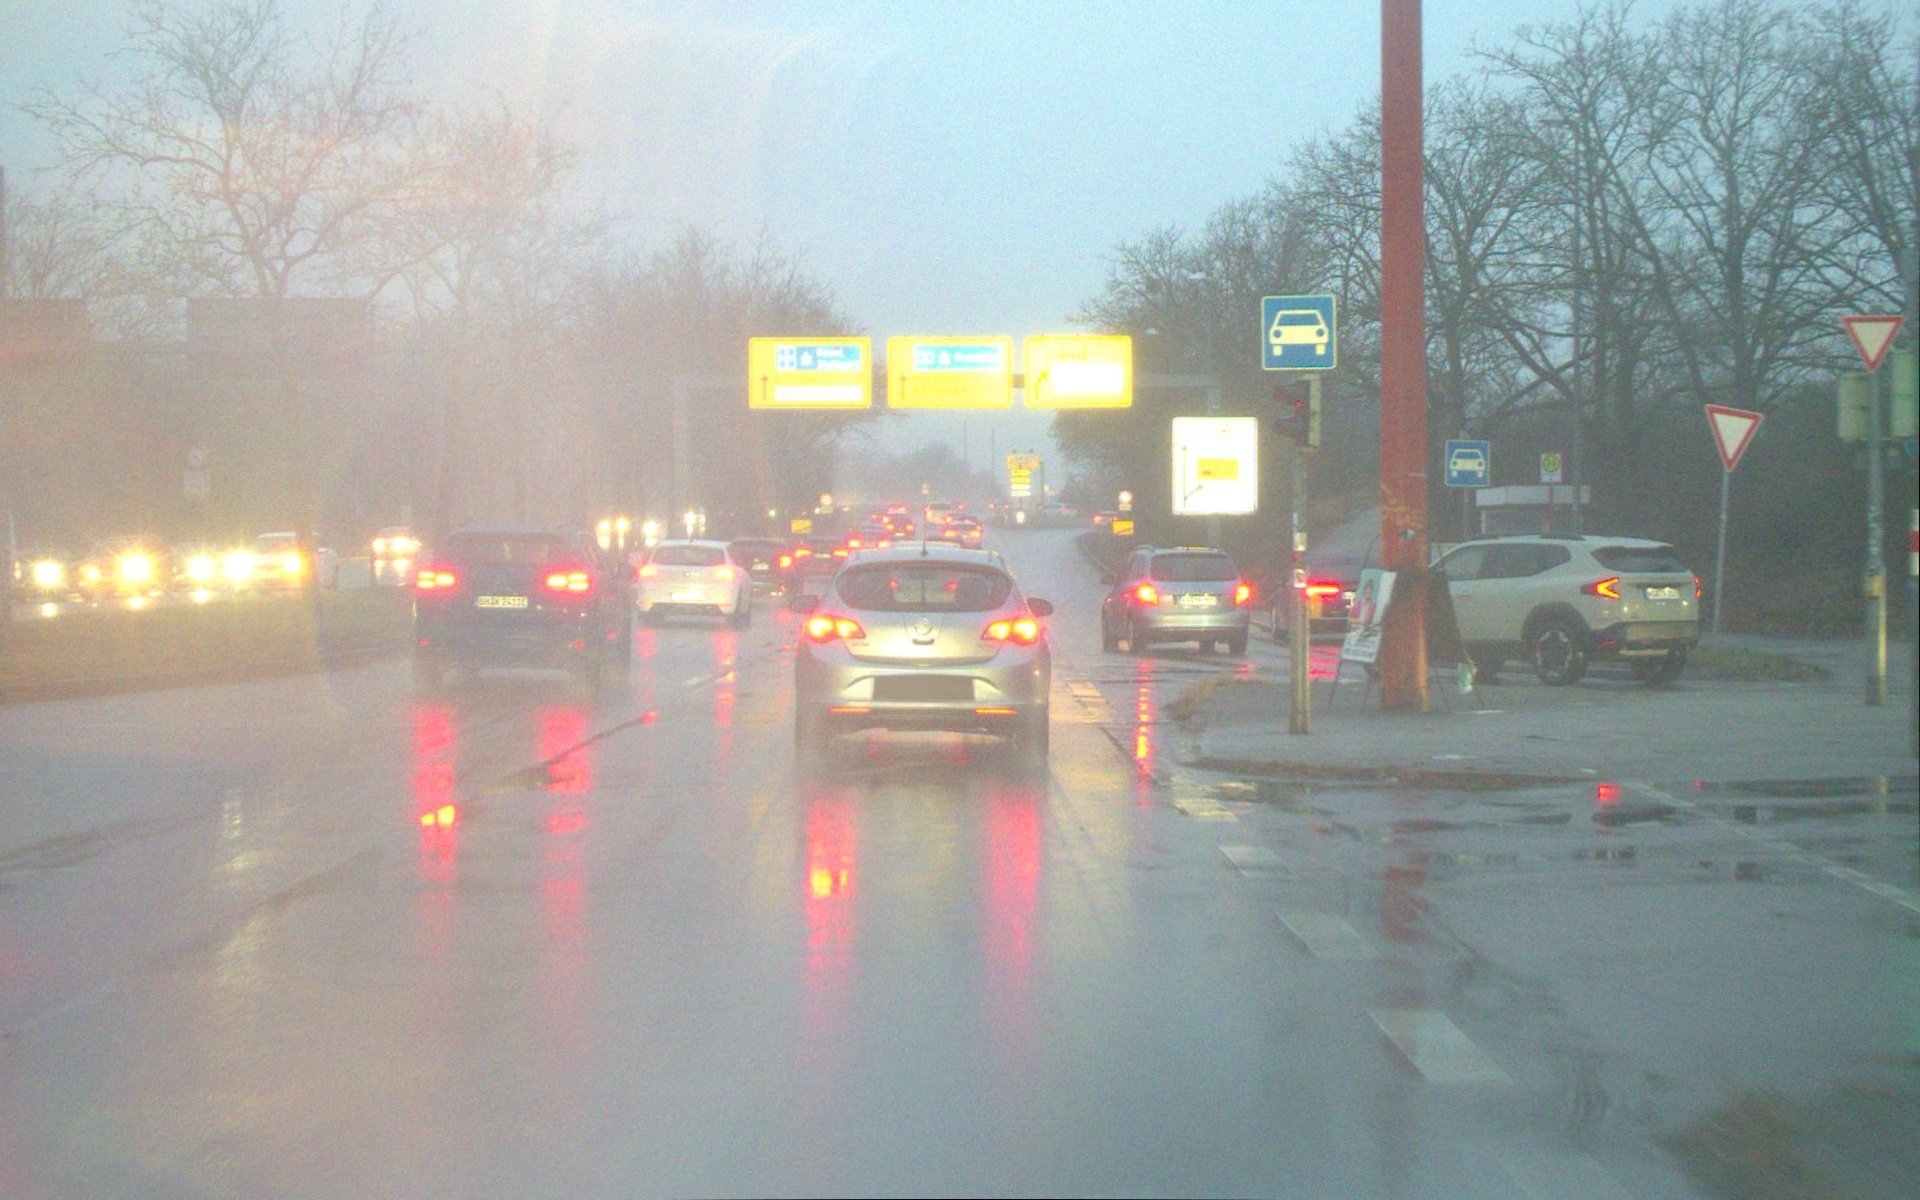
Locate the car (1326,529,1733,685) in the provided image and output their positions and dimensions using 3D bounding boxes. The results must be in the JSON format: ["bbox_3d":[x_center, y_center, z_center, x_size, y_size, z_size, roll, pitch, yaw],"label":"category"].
[{"bbox_3d":[6.208,0.036,37.924,1.816,1.612,4.410,-1,1,-36],"label":"car"}]

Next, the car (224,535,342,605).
[{"bbox_3d":[-15.484,-0.714,78.847,1.770,1.531,4.841,0,1,0],"label":"car"}]

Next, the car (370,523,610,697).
[{"bbox_3d":[-4.662,0.061,34.608,1.822,1.642,4.000,0,1,1],"label":"car"}]

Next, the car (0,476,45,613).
[{"bbox_3d":[-22.065,-1.235,74.464,2.292,2.994,7.346,1,0,2],"label":"car"}]

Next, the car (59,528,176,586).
[{"bbox_3d":[-21.654,-1.117,88.544,1.904,1.441,4.442,1,1,0],"label":"car"}]

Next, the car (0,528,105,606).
[{"bbox_3d":[-21.628,-0.789,80.797,1.797,1.654,4.000,2,3,4],"label":"car"}]

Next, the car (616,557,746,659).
[{"bbox_3d":[-4.679,0.109,58.191,1.822,1.642,4.000,0,1,1],"label":"car"}]

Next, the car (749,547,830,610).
[{"bbox_3d":[-3.707,-0.485,75.266,1.505,1.334,4.000,0,1,1],"label":"car"}]

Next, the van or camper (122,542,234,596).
[{"bbox_3d":[-21.776,-0.881,95.932,1.904,1.441,5.158,1,1,0],"label":"van or camper"}]

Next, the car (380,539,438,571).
[{"bbox_3d":[-26.506,-2.156,165.515,1.993,1.472,4.072,1,1,2],"label":"car"}]

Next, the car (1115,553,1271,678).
[{"bbox_3d":[3.259,0.192,48.866,1.933,1.642,4.466,2,0,1],"label":"car"}]

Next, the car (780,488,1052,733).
[{"bbox_3d":[-0.264,0.027,25.282,1.822,1.642,4.466,0,1,1],"label":"car"}]
